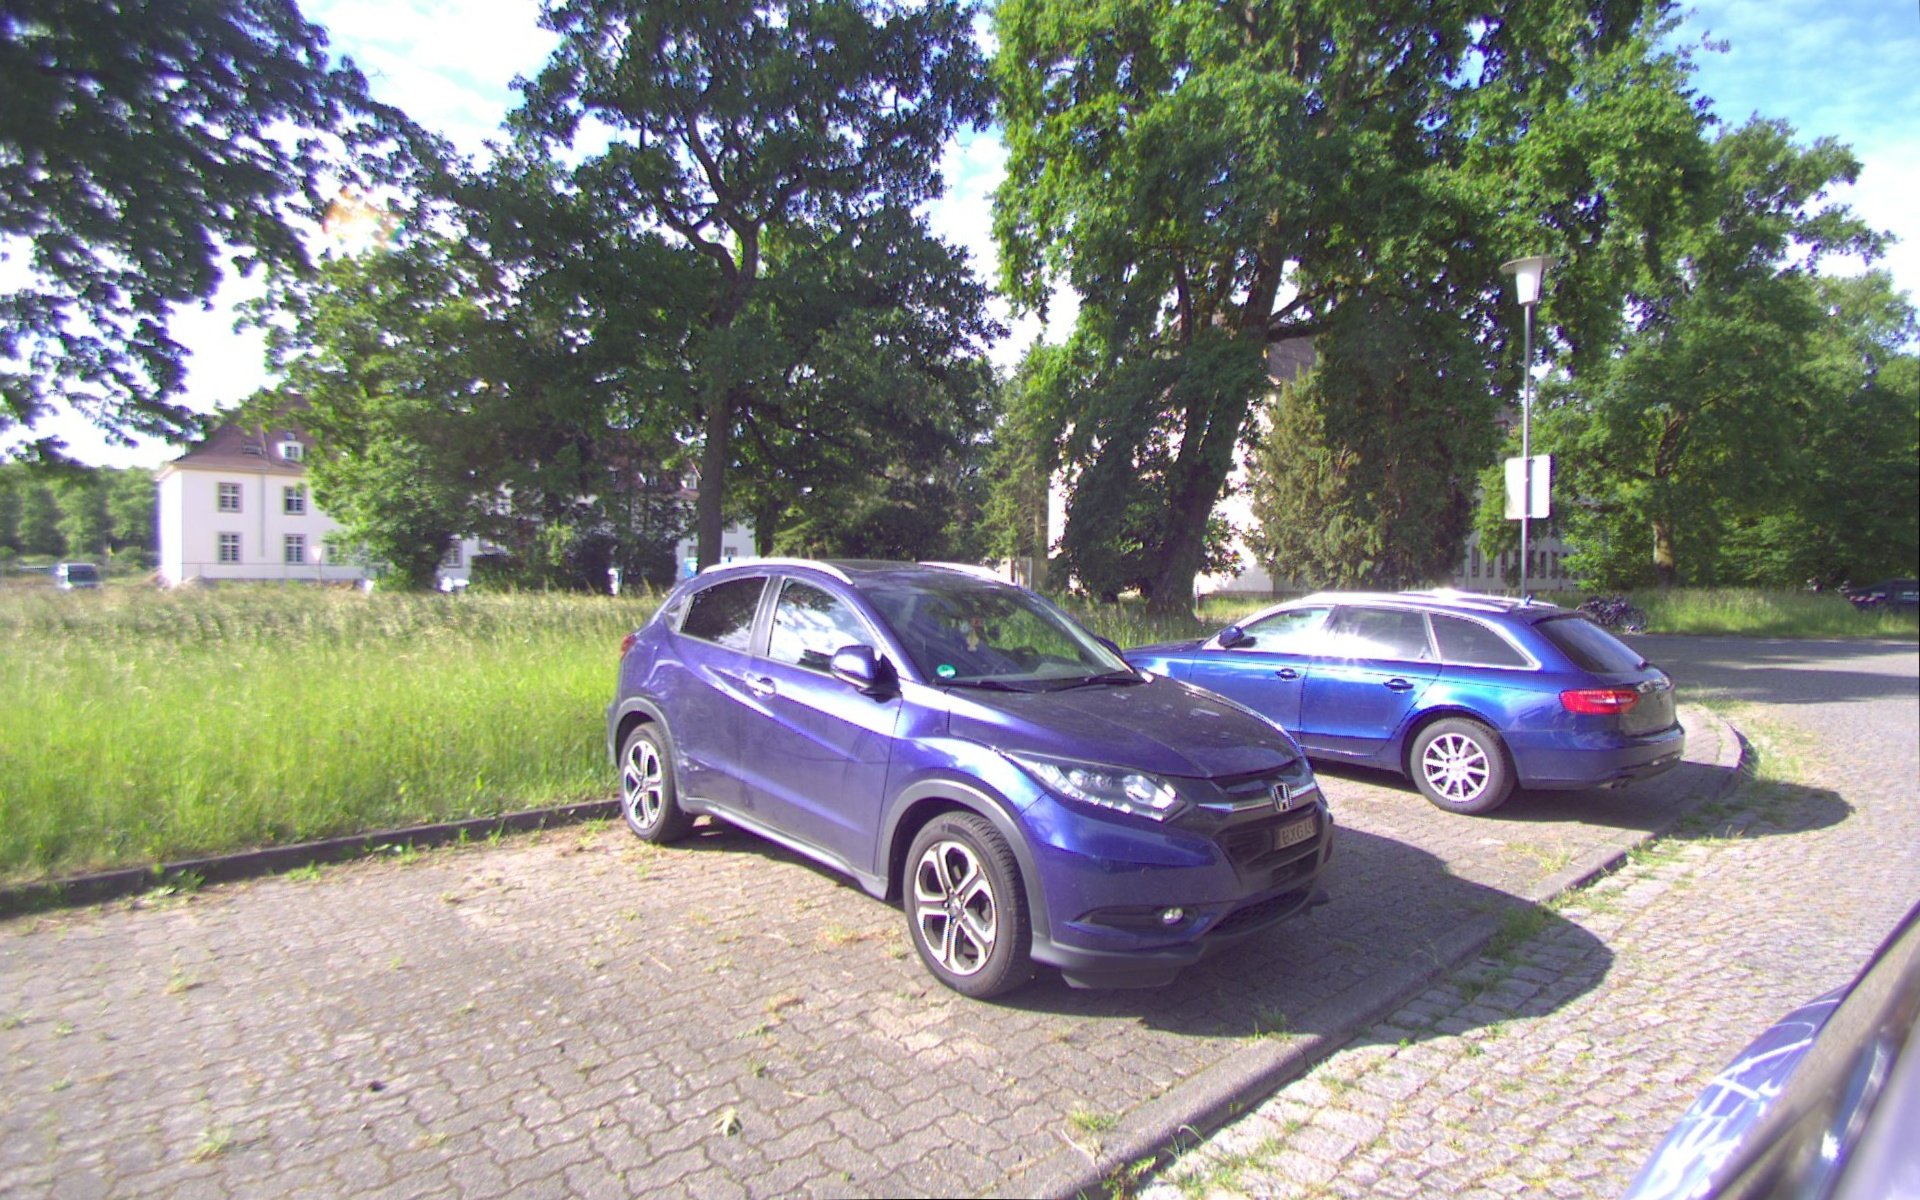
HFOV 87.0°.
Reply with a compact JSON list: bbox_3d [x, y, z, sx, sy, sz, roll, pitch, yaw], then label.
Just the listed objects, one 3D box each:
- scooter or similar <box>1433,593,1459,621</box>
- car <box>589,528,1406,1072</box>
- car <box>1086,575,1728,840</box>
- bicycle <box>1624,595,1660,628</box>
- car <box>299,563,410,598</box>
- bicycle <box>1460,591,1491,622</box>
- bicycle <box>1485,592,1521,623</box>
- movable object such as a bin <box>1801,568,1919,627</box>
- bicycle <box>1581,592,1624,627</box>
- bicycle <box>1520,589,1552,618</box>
[{"bbox_3d":[16.658,0.234,34.671,0.767,0.941,0.257,1,1,42],"label":"scooter or similar"},{"bbox_3d":[-0.205,0.537,5.127,1.722,1.610,4.183,-1,2,-42],"label":"car"},{"bbox_3d":[3.231,0.583,8.188,1.683,1.425,4.461,-1,3,-39],"label":"car"},{"bbox_3d":[20.985,0.341,31.139,0.745,0.946,1.122,1,1,44],"label":"bicycle"},{"bbox_3d":[-39.935,-1.321,66.957,5.889,2.198,2.381,-1,1,-20],"label":"car"},{"bbox_3d":[17.678,0.230,34.704,1.009,1.029,0.619,0,1,-40],"label":"bicycle"},{"bbox_3d":[18.454,0.243,34.384,1.008,1.029,0.711,0,1,-35],"label":"bicycle"},{"bbox_3d":[29.672,-0.083,31.521,1.959,1.781,4.948,0,1,-27],"label":"movable object such as a bin"},{"bbox_3d":[20.056,0.285,31.585,1.232,1.029,0.711,0,1,-35],"label":"bicycle"},{"bbox_3d":[21.237,0.113,37.349,0.699,1.029,1.024,1,1,10],"label":"bicycle"}]
